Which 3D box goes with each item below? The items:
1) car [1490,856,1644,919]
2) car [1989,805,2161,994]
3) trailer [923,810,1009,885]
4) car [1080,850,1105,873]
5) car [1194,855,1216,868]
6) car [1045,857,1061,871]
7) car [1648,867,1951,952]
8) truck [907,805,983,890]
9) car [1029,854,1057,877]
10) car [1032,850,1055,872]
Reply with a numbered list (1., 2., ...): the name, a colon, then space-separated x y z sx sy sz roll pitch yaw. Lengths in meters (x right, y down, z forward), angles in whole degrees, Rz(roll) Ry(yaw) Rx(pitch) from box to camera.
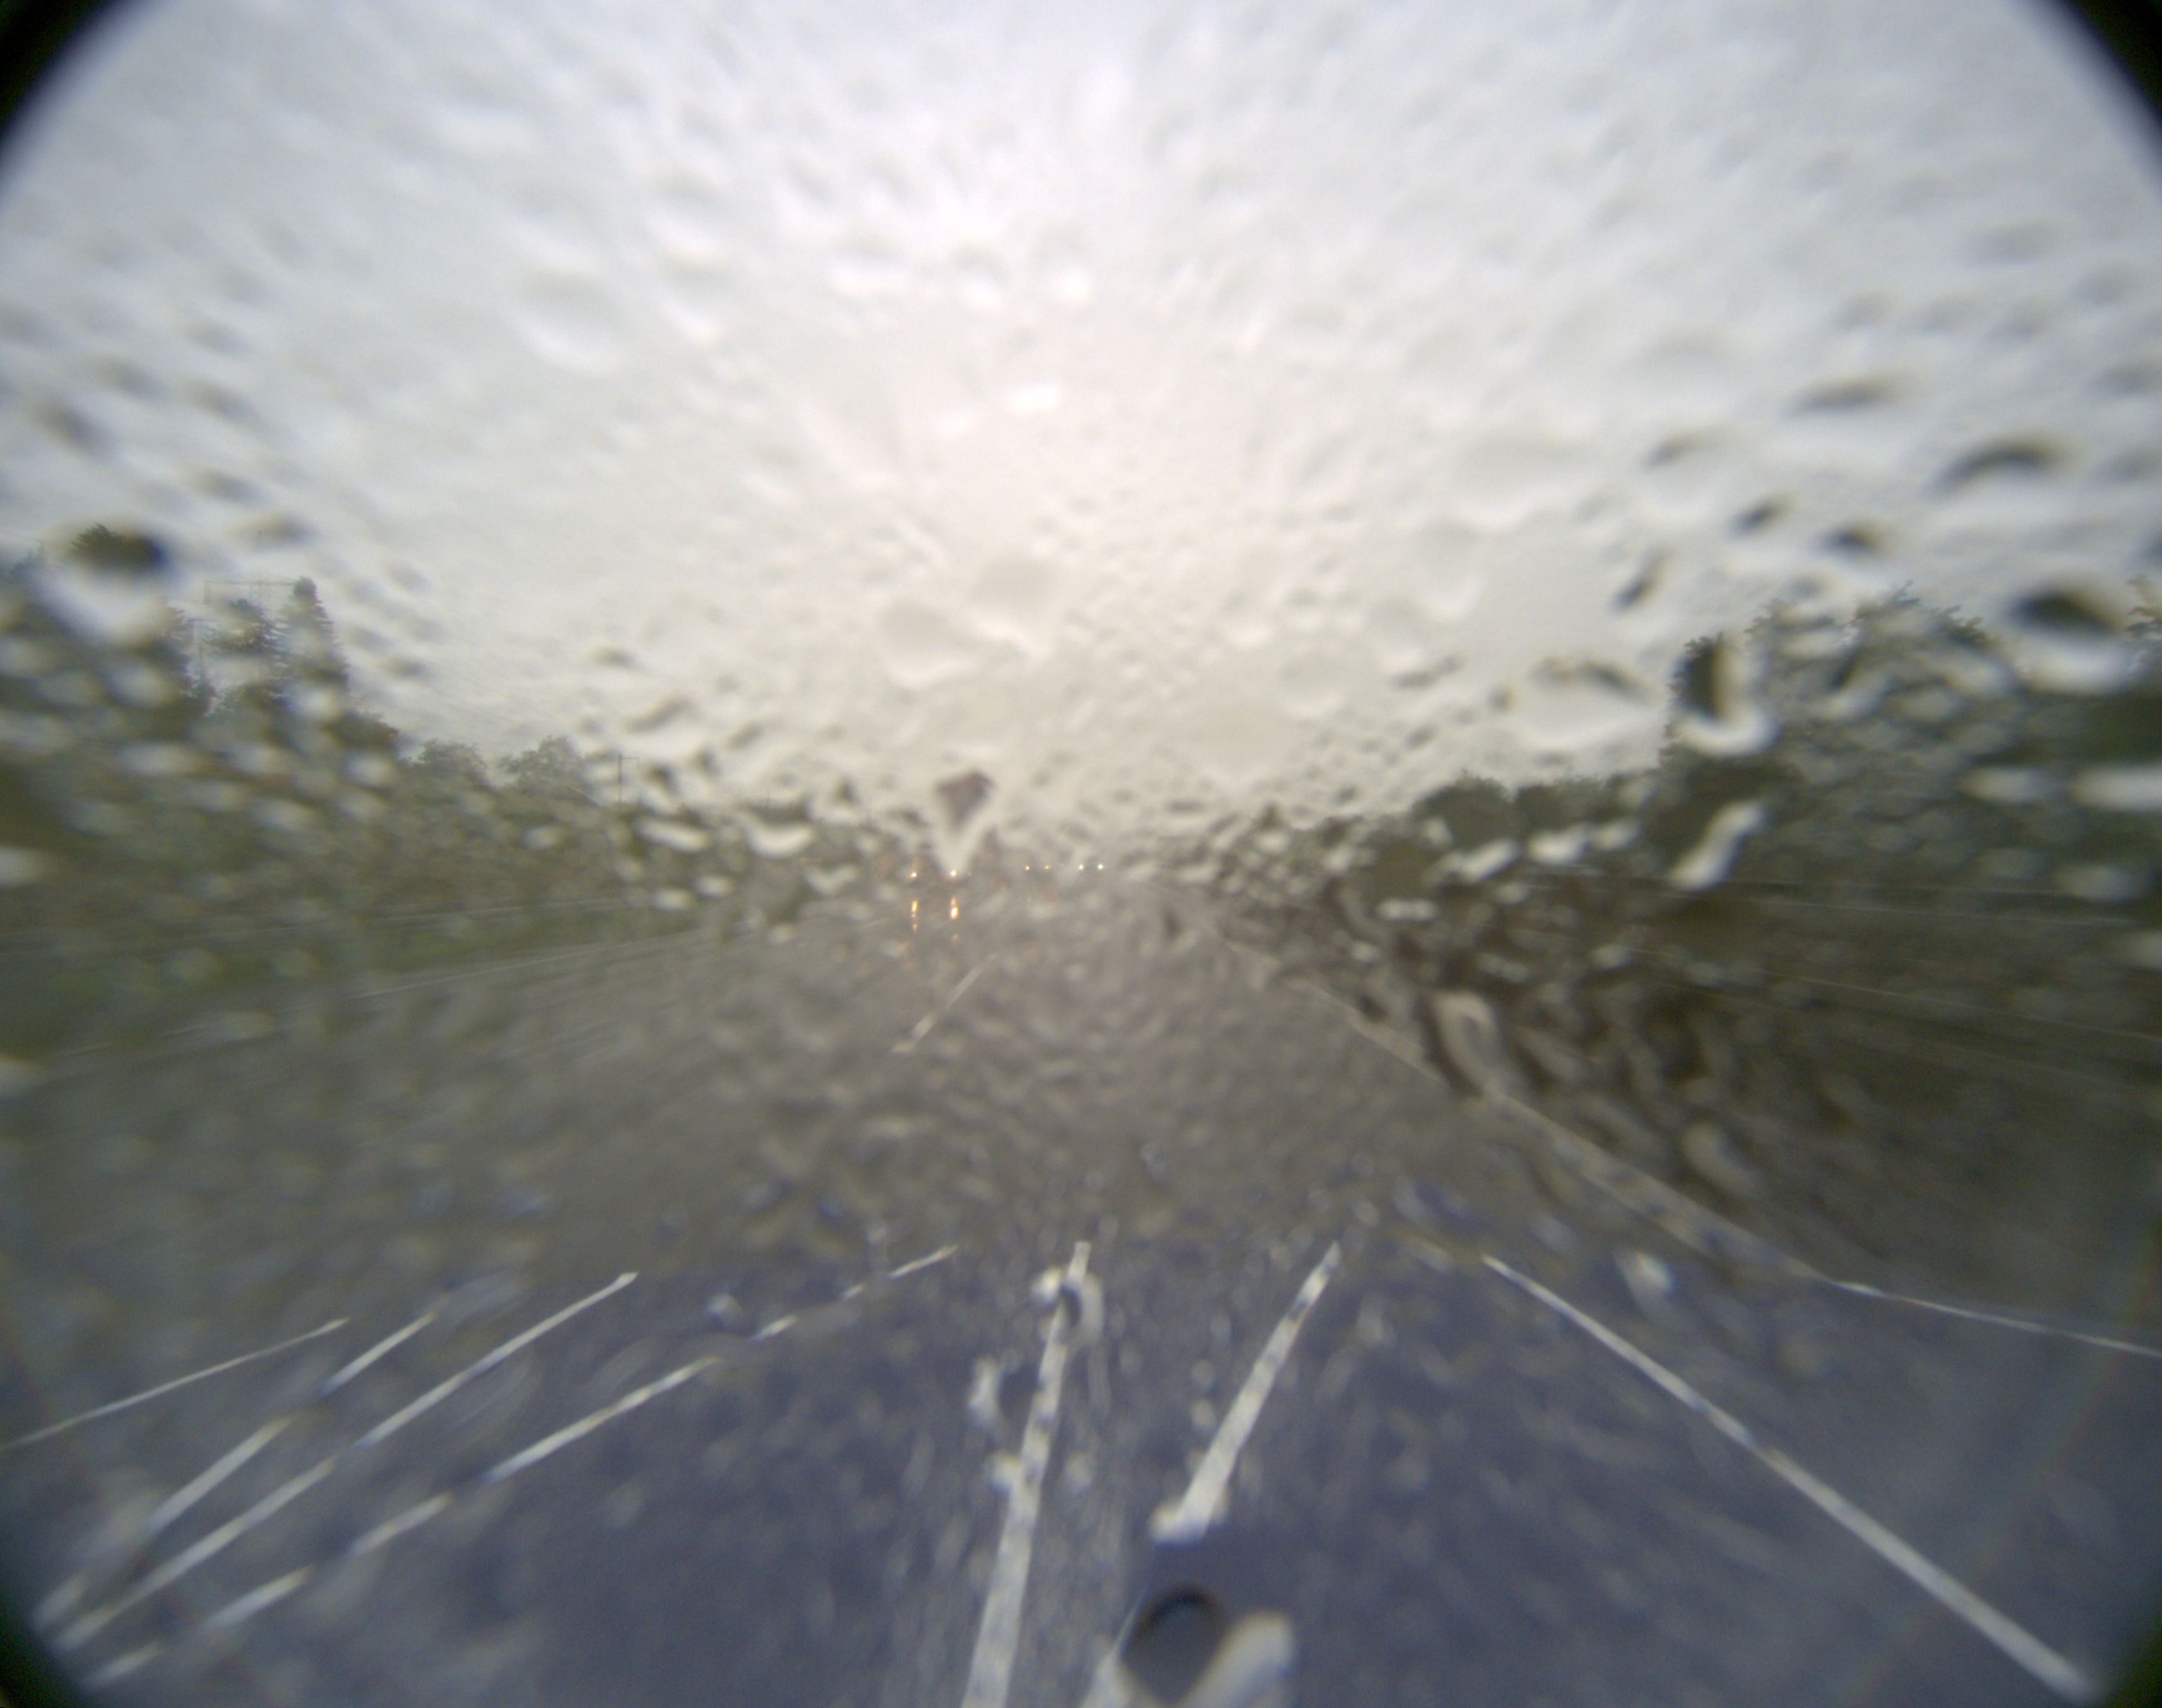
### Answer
1. car: 15.554 0.996 24.692 2.036 1.781 4.628 -2 0 1
2. car: 11.717 0.415 6.632 2.036 1.874 4.628 -2 0 1
3. trailer: -6.623 -0.273 46.920 2.486 3.743 16.545 -2 0 1
4. car: 0.871 0.543 58.827 1.845 1.671 4.000 -2 0 0
5. car: 16.074 0.948 98.533 1.932 1.503 5.434 -2 0 1
6. car: -3.512 1.278 96.279 1.845 1.671 4.000 -2 0 0
7. car: 15.612 1.112 17.032 2.164 1.503 4.904 -2 0 1
8. truck: -6.703 -0.305 38.317 2.457 3.866 6.199 -2 0 1
9. car: -2.606 0.749 52.821 1.663 1.491 3.836 -2 0 1
10. car: -2.860 0.544 58.421 1.517 1.606 3.186 -2 0 0
